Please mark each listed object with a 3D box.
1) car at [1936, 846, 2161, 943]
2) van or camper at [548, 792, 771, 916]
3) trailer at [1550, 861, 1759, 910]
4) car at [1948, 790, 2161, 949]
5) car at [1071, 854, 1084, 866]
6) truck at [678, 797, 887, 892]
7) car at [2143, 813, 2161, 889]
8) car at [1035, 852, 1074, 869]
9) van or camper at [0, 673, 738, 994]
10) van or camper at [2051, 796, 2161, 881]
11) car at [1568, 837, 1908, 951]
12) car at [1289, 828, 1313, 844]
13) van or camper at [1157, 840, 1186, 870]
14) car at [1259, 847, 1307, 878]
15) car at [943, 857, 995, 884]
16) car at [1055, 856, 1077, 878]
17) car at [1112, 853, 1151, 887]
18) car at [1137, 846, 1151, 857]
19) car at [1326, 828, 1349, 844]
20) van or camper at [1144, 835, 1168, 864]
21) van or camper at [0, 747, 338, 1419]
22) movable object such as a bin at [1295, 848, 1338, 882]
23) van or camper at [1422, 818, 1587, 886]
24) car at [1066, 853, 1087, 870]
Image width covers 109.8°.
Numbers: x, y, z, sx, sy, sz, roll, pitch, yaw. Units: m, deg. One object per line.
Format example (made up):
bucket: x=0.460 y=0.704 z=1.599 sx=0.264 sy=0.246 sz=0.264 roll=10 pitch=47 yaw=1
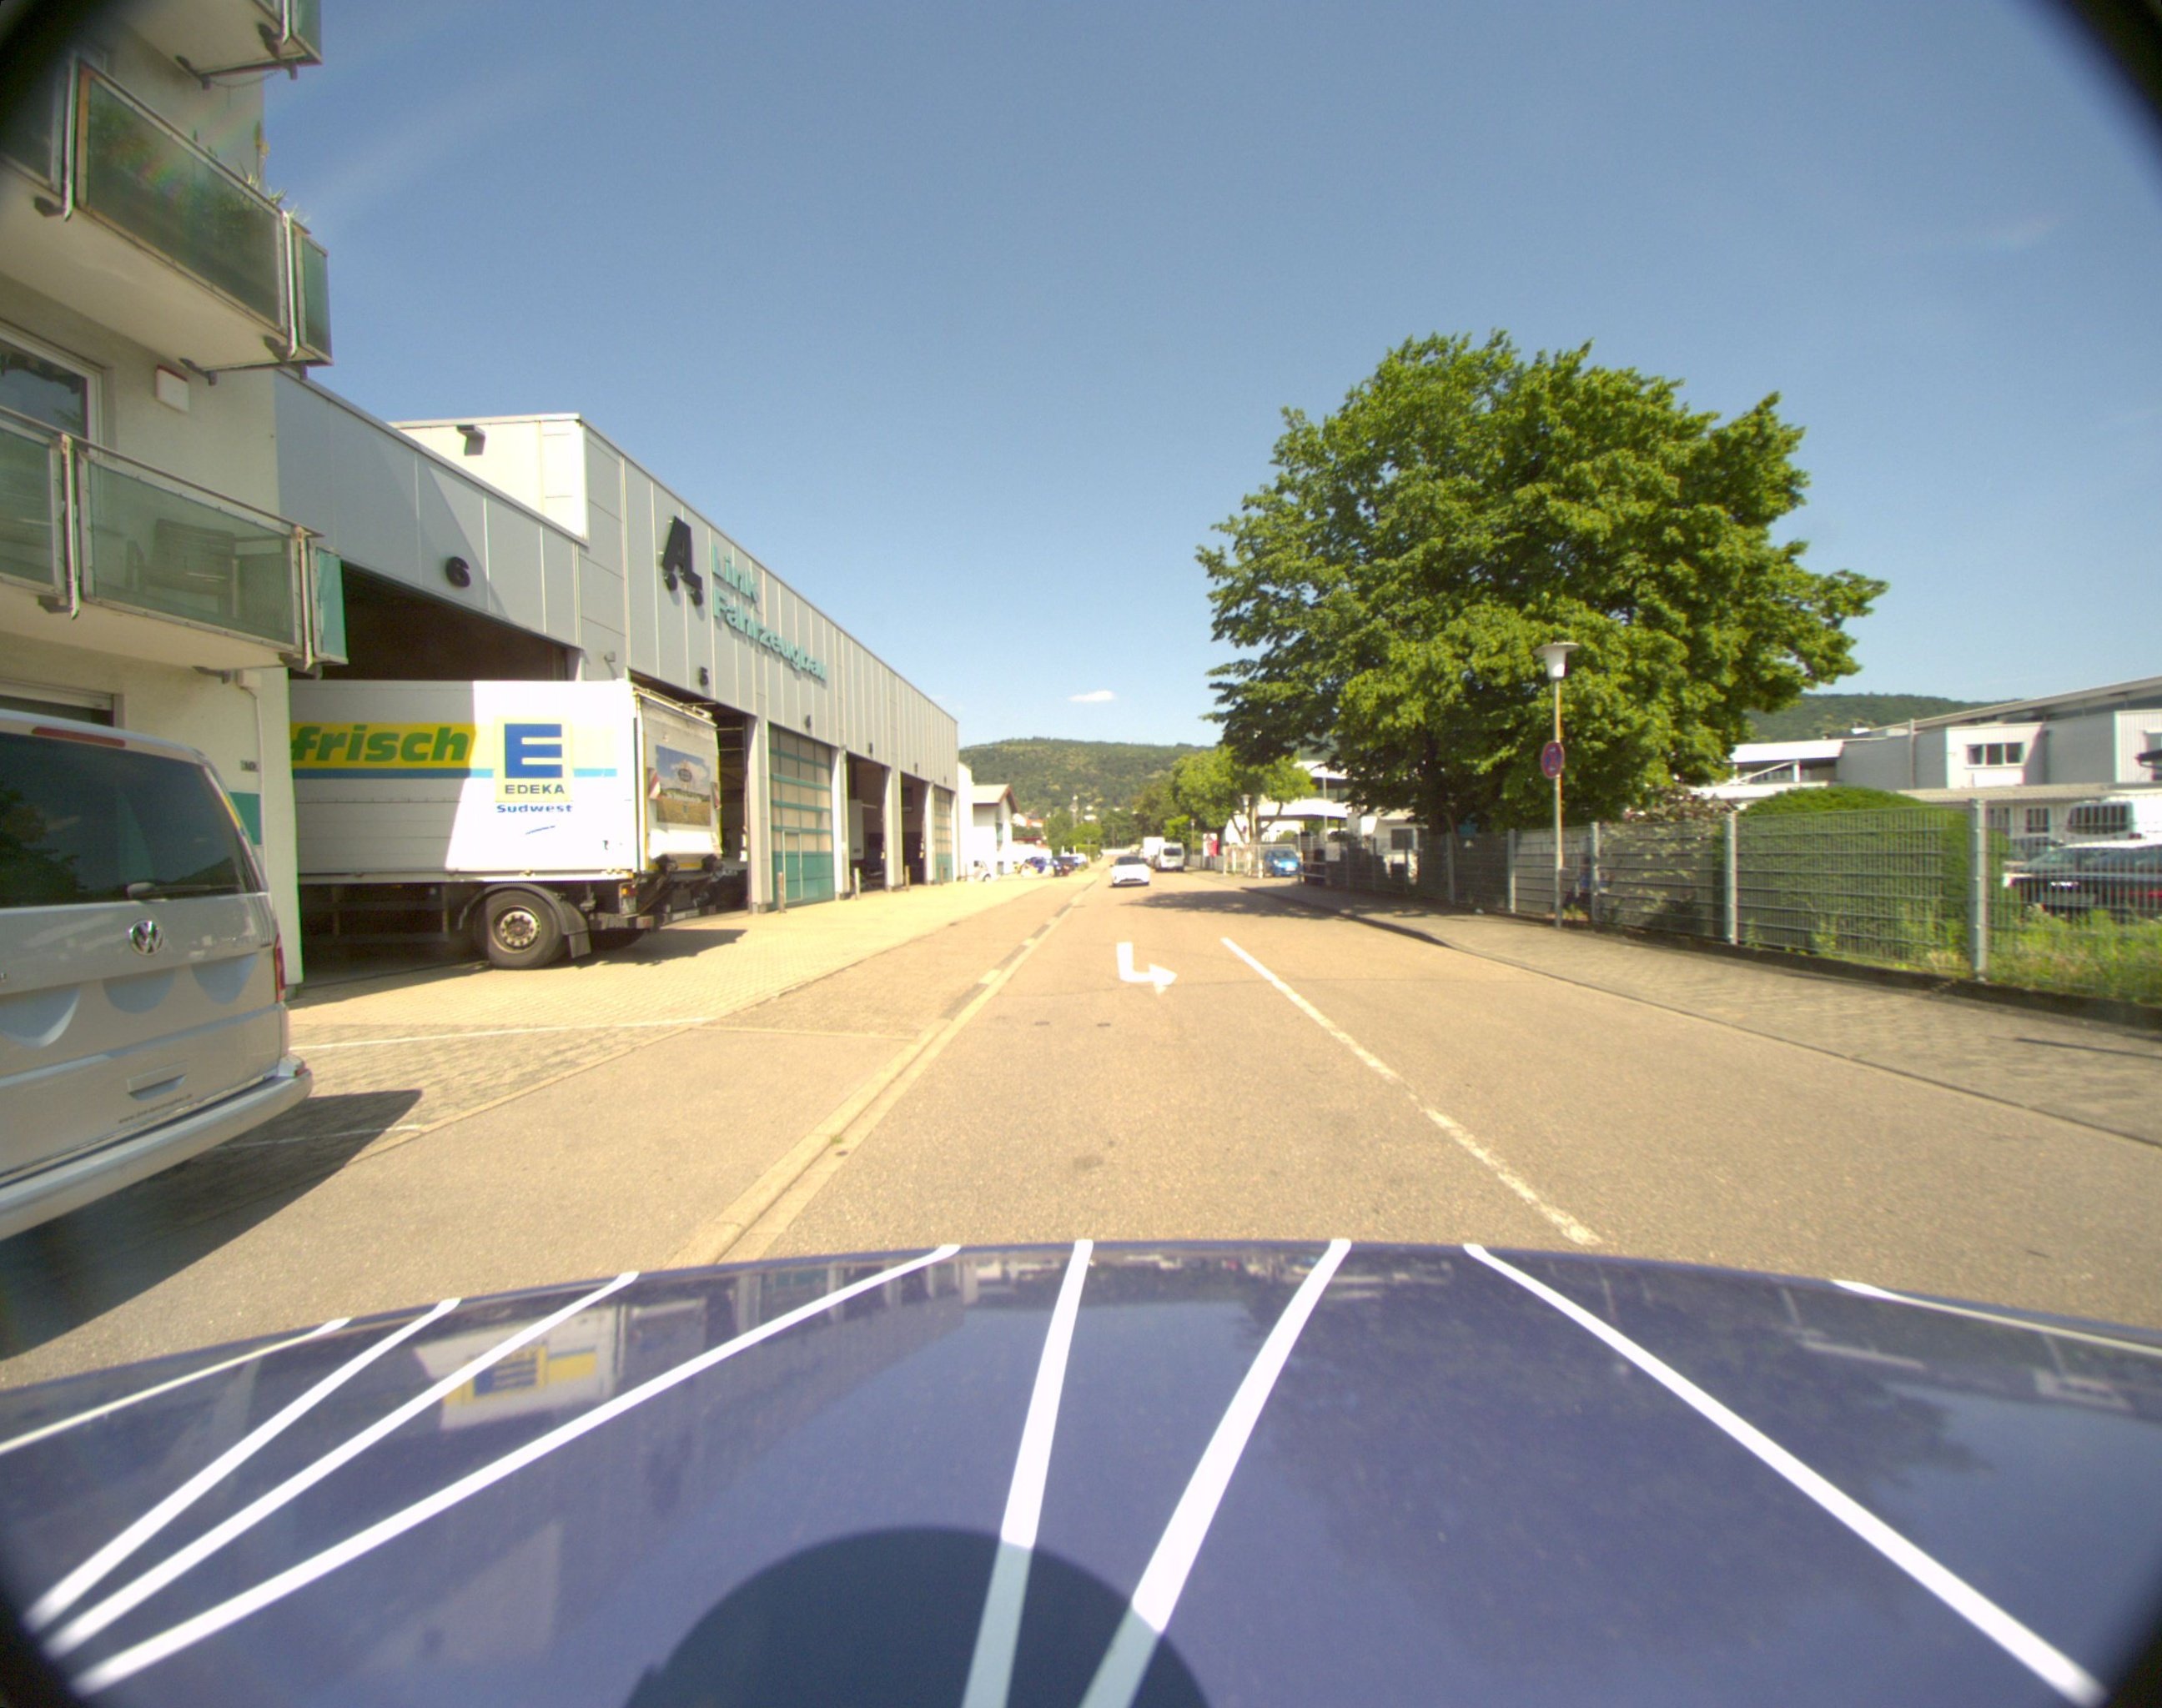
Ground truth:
car: x=16.724 y=0.625 z=12.618 sx=3.076 sy=1.464 sz=1.653 roll=-1 pitch=1 yaw=5
van or camper: x=-11.753 y=-0.001 z=21.452 sx=5.055 sy=3.187 sz=2.000 roll=-2 pitch=1 yaw=1
trailer: x=12.380 y=0.659 z=16.582 sx=3.289 sy=0.934 sz=1.613 roll=-1 pitch=1 yaw=5
car: x=12.349 y=0.114 z=8.216 sx=3.833 sy=1.533 sz=1.857 roll=-1 pitch=1 yaw=0
car: x=-0.391 y=0.728 z=92.411 sx=1.452 sy=1.371 sz=3.186 roll=-4 pitch=1 yaw=0
truck: x=-12.595 y=-0.367 z=32.429 sx=7.853 sy=3.760 sz=2.625 roll=-1 pitch=1 yaw=4
car: x=30.497 y=-0.113 z=18.895 sx=4.572 sy=2.002 sz=2.060 roll=-1 pitch=1 yaw=12
car: x=-2.134 y=0.540 z=61.543 sx=2.975 sy=1.332 sz=1.453 roll=-1 pitch=1 yaw=4
van or camper: x=-11.193 y=-0.248 z=10.248 sx=11.633 sy=3.671 sz=2.780 roll=-1 pitch=1 yaw=-4
van or camper: x=31.060 y=-0.487 z=21.405 sx=4.595 sy=2.292 sz=1.782 roll=-1 pitch=1 yaw=9
car: x=9.138 y=0.505 z=10.806 sx=3.385 sy=1.476 sz=1.518 roll=0 pitch=1 yaw=5
car: x=20.734 y=-1.666 z=71.574 sx=1.705 sy=1.449 sz=3.531 roll=-1 pitch=1 yaw=23
van or camper: x=7.381 y=0.069 z=62.222 sx=2.028 sy=2.363 sz=4.685 roll=0 pitch=1 yaw=2
car: x=10.633 y=0.411 z=40.216 sx=1.644 sy=1.449 sz=3.525 roll=-3 pitch=1 yaw=2
car: x=-6.799 y=0.997 z=46.161 sx=2.829 sy=1.525 sz=1.309 roll=-1 pitch=-1 yaw=-44
car: x=-1.024 y=0.852 z=52.358 sx=1.452 sy=1.371 sz=3.186 roll=-1 pitch=1 yaw=0
car: x=2.457 y=0.743 z=37.268 sx=1.736 sy=1.521 sz=4.110 roll=-1 pitch=1 yaw=3
car: x=9.663 y=-0.462 z=116.674 sx=1.708 sy=1.564 sz=3.524 roll=-4 pitch=1 yaw=0
car: x=23.815 y=-1.665 z=70.509 sx=1.705 sy=1.449 sz=3.531 roll=-1 pitch=1 yaw=24
van or camper: x=9.078 y=-0.526 z=92.541 sx=2.525 sy=3.350 sz=5.592 roll=-1 pitch=1 yaw=2
van or camper: x=-5.375 y=0.671 z=1.920 sx=4.559 sy=1.897 sz=1.997 roll=-1 pitch=0 yaw=-17
movable object such as a bin: x=10.151 y=0.455 z=32.858 sx=1.383 sy=1.350 sz=2.104 roll=-3 pitch=1 yaw=8
van or camper: x=13.452 y=-0.057 z=24.345 sx=4.191 sy=1.853 sz=1.774 roll=-3 pitch=1 yaw=5
car: x=-0.448 y=0.650 z=72.106 sx=1.453 sy=1.487 sz=3.184 roll=-4 pitch=1 yaw=-8
